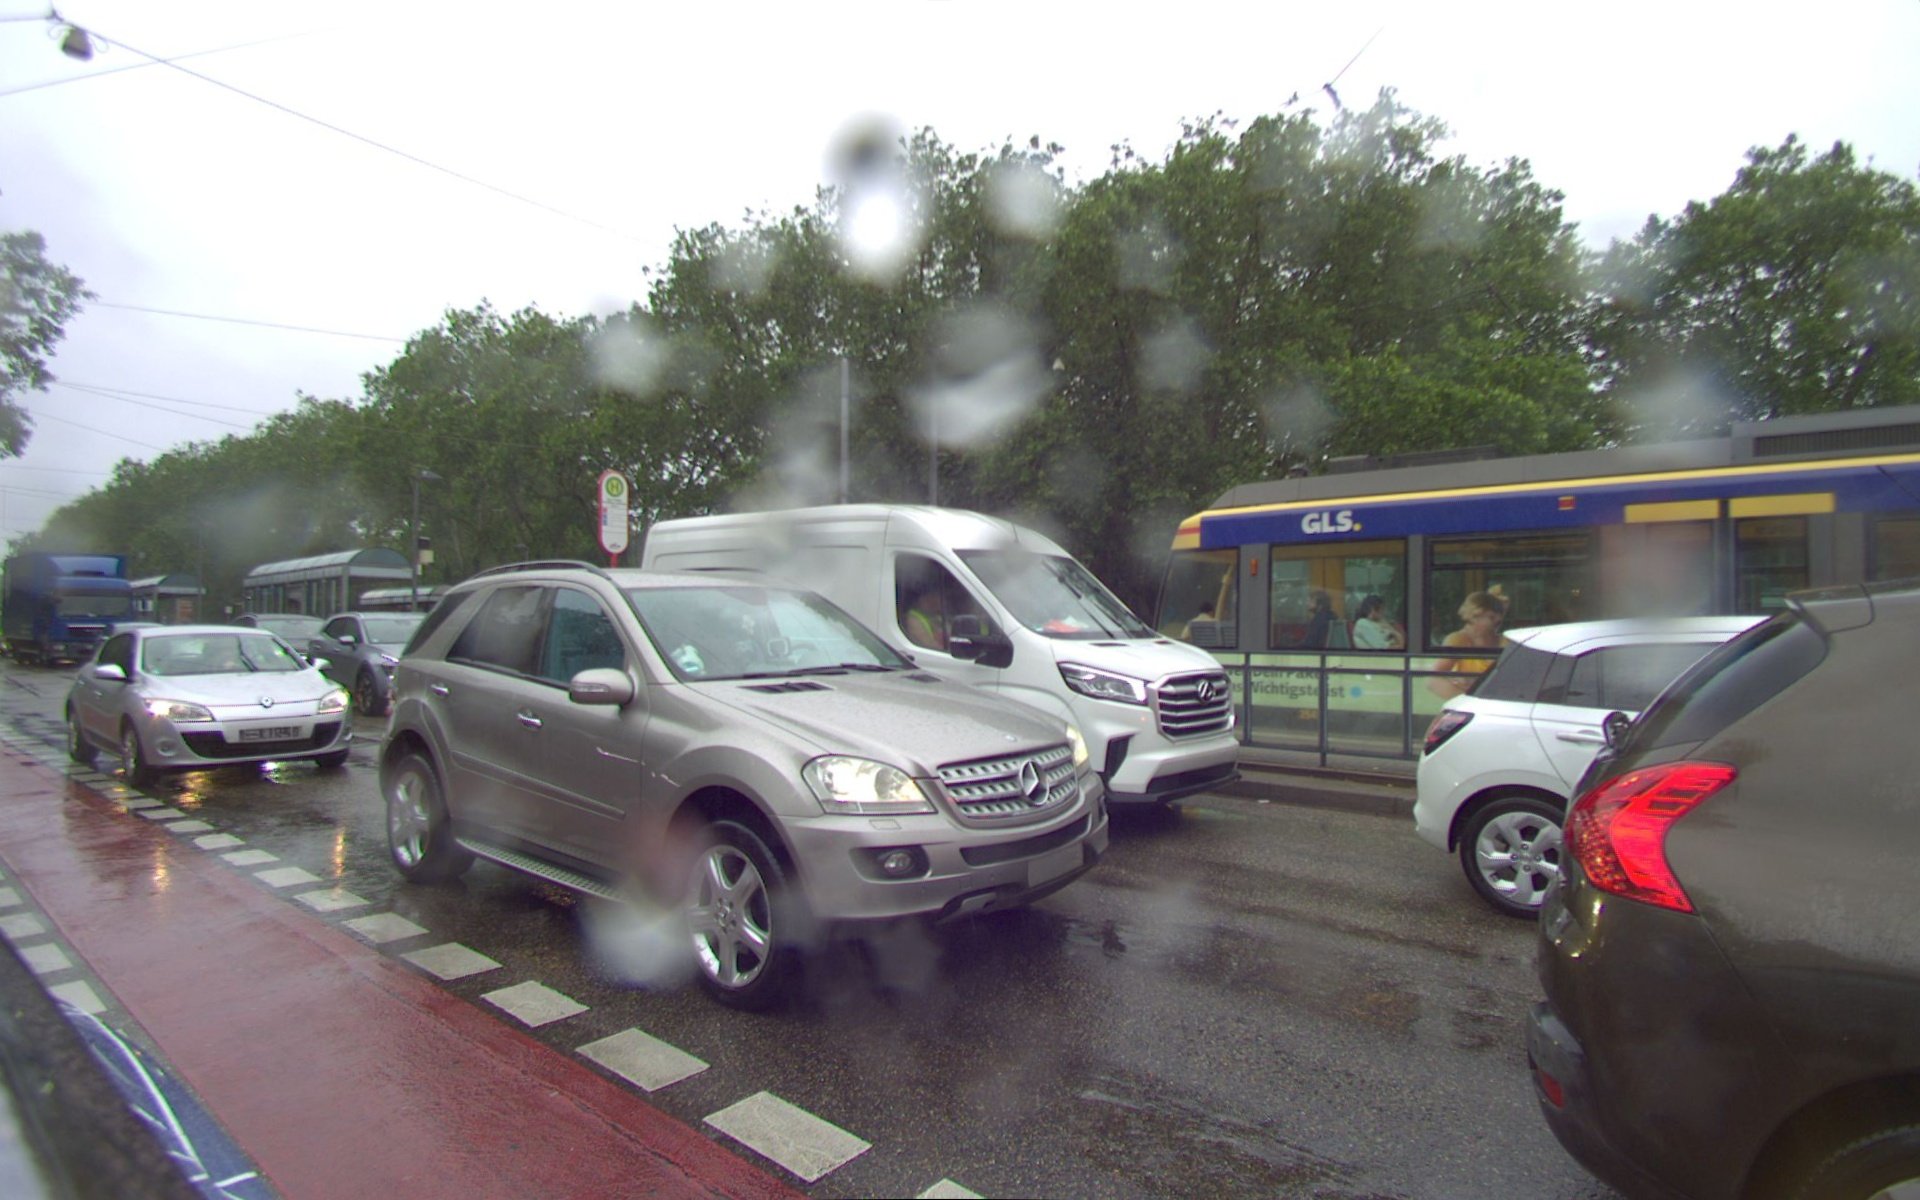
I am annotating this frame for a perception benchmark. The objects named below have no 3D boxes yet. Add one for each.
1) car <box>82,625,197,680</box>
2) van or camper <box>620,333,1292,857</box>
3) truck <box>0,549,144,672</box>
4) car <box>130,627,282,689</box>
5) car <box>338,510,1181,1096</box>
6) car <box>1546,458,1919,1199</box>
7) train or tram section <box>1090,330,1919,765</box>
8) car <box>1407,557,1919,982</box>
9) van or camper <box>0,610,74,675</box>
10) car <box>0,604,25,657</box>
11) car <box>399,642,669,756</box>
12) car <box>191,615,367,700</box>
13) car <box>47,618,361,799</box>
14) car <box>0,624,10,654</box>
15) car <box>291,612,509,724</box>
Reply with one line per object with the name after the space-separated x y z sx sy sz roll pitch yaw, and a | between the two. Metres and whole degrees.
-24.391 1.499 30.051 4.074 1.498 1.871 -1 -2 40 | car
-0.373 0.032 8.815 5.846 3.166 2.136 -1 -2 40 | van or camper
-32.241 0.449 36.351 9.803 3.919 2.513 -1 -3 40 | truck
-18.831 1.383 25.206 4.602 1.405 1.973 -1 -3 40 | car
-1.335 0.651 5.306 4.459 1.783 2.004 -1 -1 40 | car
3.284 0.595 1.238 4.170 1.681 1.815 -1 -1 41 | car
8.026 -0.430 10.338 13.652 3.539 3.476 -1 0 41 | train or tram section
4.262 0.669 4.530 3.834 1.641 1.628 -1 -2 41 | car
-40.038 1.772 43.549 6.427 2.590 1.973 -1 0 41 | van or camper
-46.830 1.460 48.925 5.727 2.445 1.972 -1 0 43 | car
-5.451 1.133 12.713 4.084 1.126 1.448 -1 -1 40 | car
-14.649 1.165 21.681 4.316 1.633 1.974 -1 -2 40 | car
-7.883 0.950 10.423 3.998 1.489 1.750 -1 -1 40 | car
-52.354 2.091 54.071 3.998 1.589 1.973 -1 -1 41 | car
-9.531 1.057 17.078 4.454 1.636 1.894 -1 -2 43 | car
